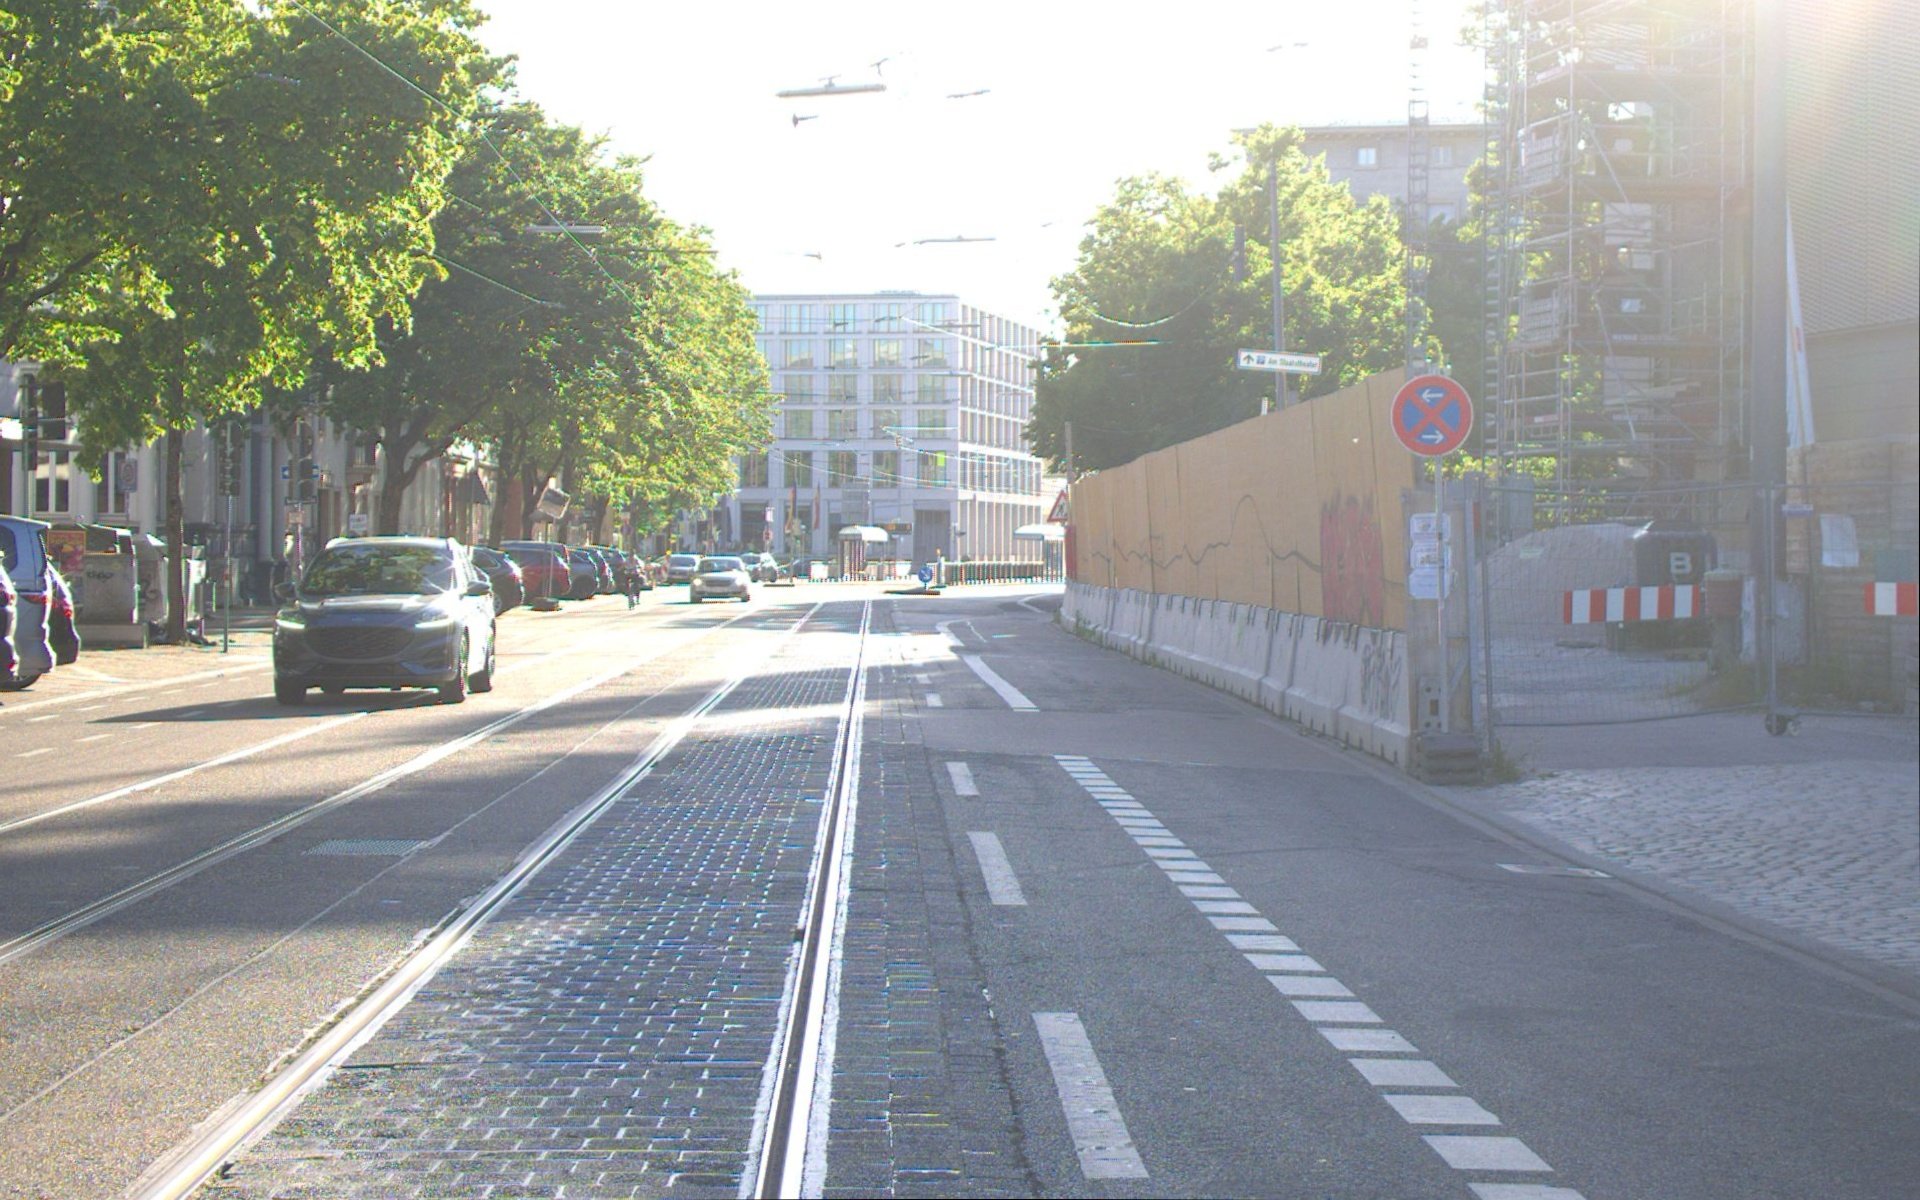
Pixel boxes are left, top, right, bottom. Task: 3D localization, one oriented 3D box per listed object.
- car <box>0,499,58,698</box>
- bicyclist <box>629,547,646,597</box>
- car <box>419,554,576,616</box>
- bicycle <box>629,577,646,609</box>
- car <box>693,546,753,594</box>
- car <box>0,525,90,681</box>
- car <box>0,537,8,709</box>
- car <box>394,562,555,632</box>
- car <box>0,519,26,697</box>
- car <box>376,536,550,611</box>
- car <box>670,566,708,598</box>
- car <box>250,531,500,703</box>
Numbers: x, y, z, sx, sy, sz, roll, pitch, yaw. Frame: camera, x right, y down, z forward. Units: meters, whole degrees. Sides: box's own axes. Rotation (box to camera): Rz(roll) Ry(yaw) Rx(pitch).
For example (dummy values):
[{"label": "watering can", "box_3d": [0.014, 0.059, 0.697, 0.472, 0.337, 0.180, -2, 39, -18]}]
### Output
[{"label": "car", "box_3d": [-11.542, -0.102, 34.831, 4.353, 1.980, 1.950, 2, 0, -23]}, {"label": "bicyclist", "box_3d": [-9.022, -0.782, 96.308, 0.457, 1.373, 0.641, 0, 1, -6]}, {"label": "car", "box_3d": [-13.341, -0.428, 99.142, 4.159, 1.715, 1.584, 1, 0, -28]}, {"label": "bicycle", "box_3d": [-9.050, -0.213, 96.433, 0.449, 0.878, 1.901, 0, 1, -6]}, {"label": "car", "box_3d": [-7.355, -0.940, 106.862, 1.709, 1.431, 4.171, 0, 1, -2]}, {"label": "car", "box_3d": [-11.903, -0.062, 37.574, 4.281, 1.661, 1.912, 3, 0, -25]}, {"label": "car", "box_3d": [-10.277, 0.184, 29.693, 3.855, 1.471, 1.844, 0, 1, -19]}, {"label": "car", "box_3d": [-12.240, -0.076, 86.723, 3.674, 1.715, 1.611, 0, 1, -36]}, {"label": "car", "box_3d": [-11.098, 0.067, 32.445, 4.234, 1.679, 1.811, 0, 1, -22]}, {"label": "car", "box_3d": [-11.549, -0.621, 79.949, 3.674, 1.715, 1.611, 0, 1, -36]}, {"label": "car", "box_3d": [-13.029, -0.882, 165.592, 1.572, 1.485, 4.000, 1, 0, -1]}, {"label": "car", "box_3d": [-5.832, 0.130, 34.737, 1.927, 1.624, 4.249, 0, 1, -2]}]
